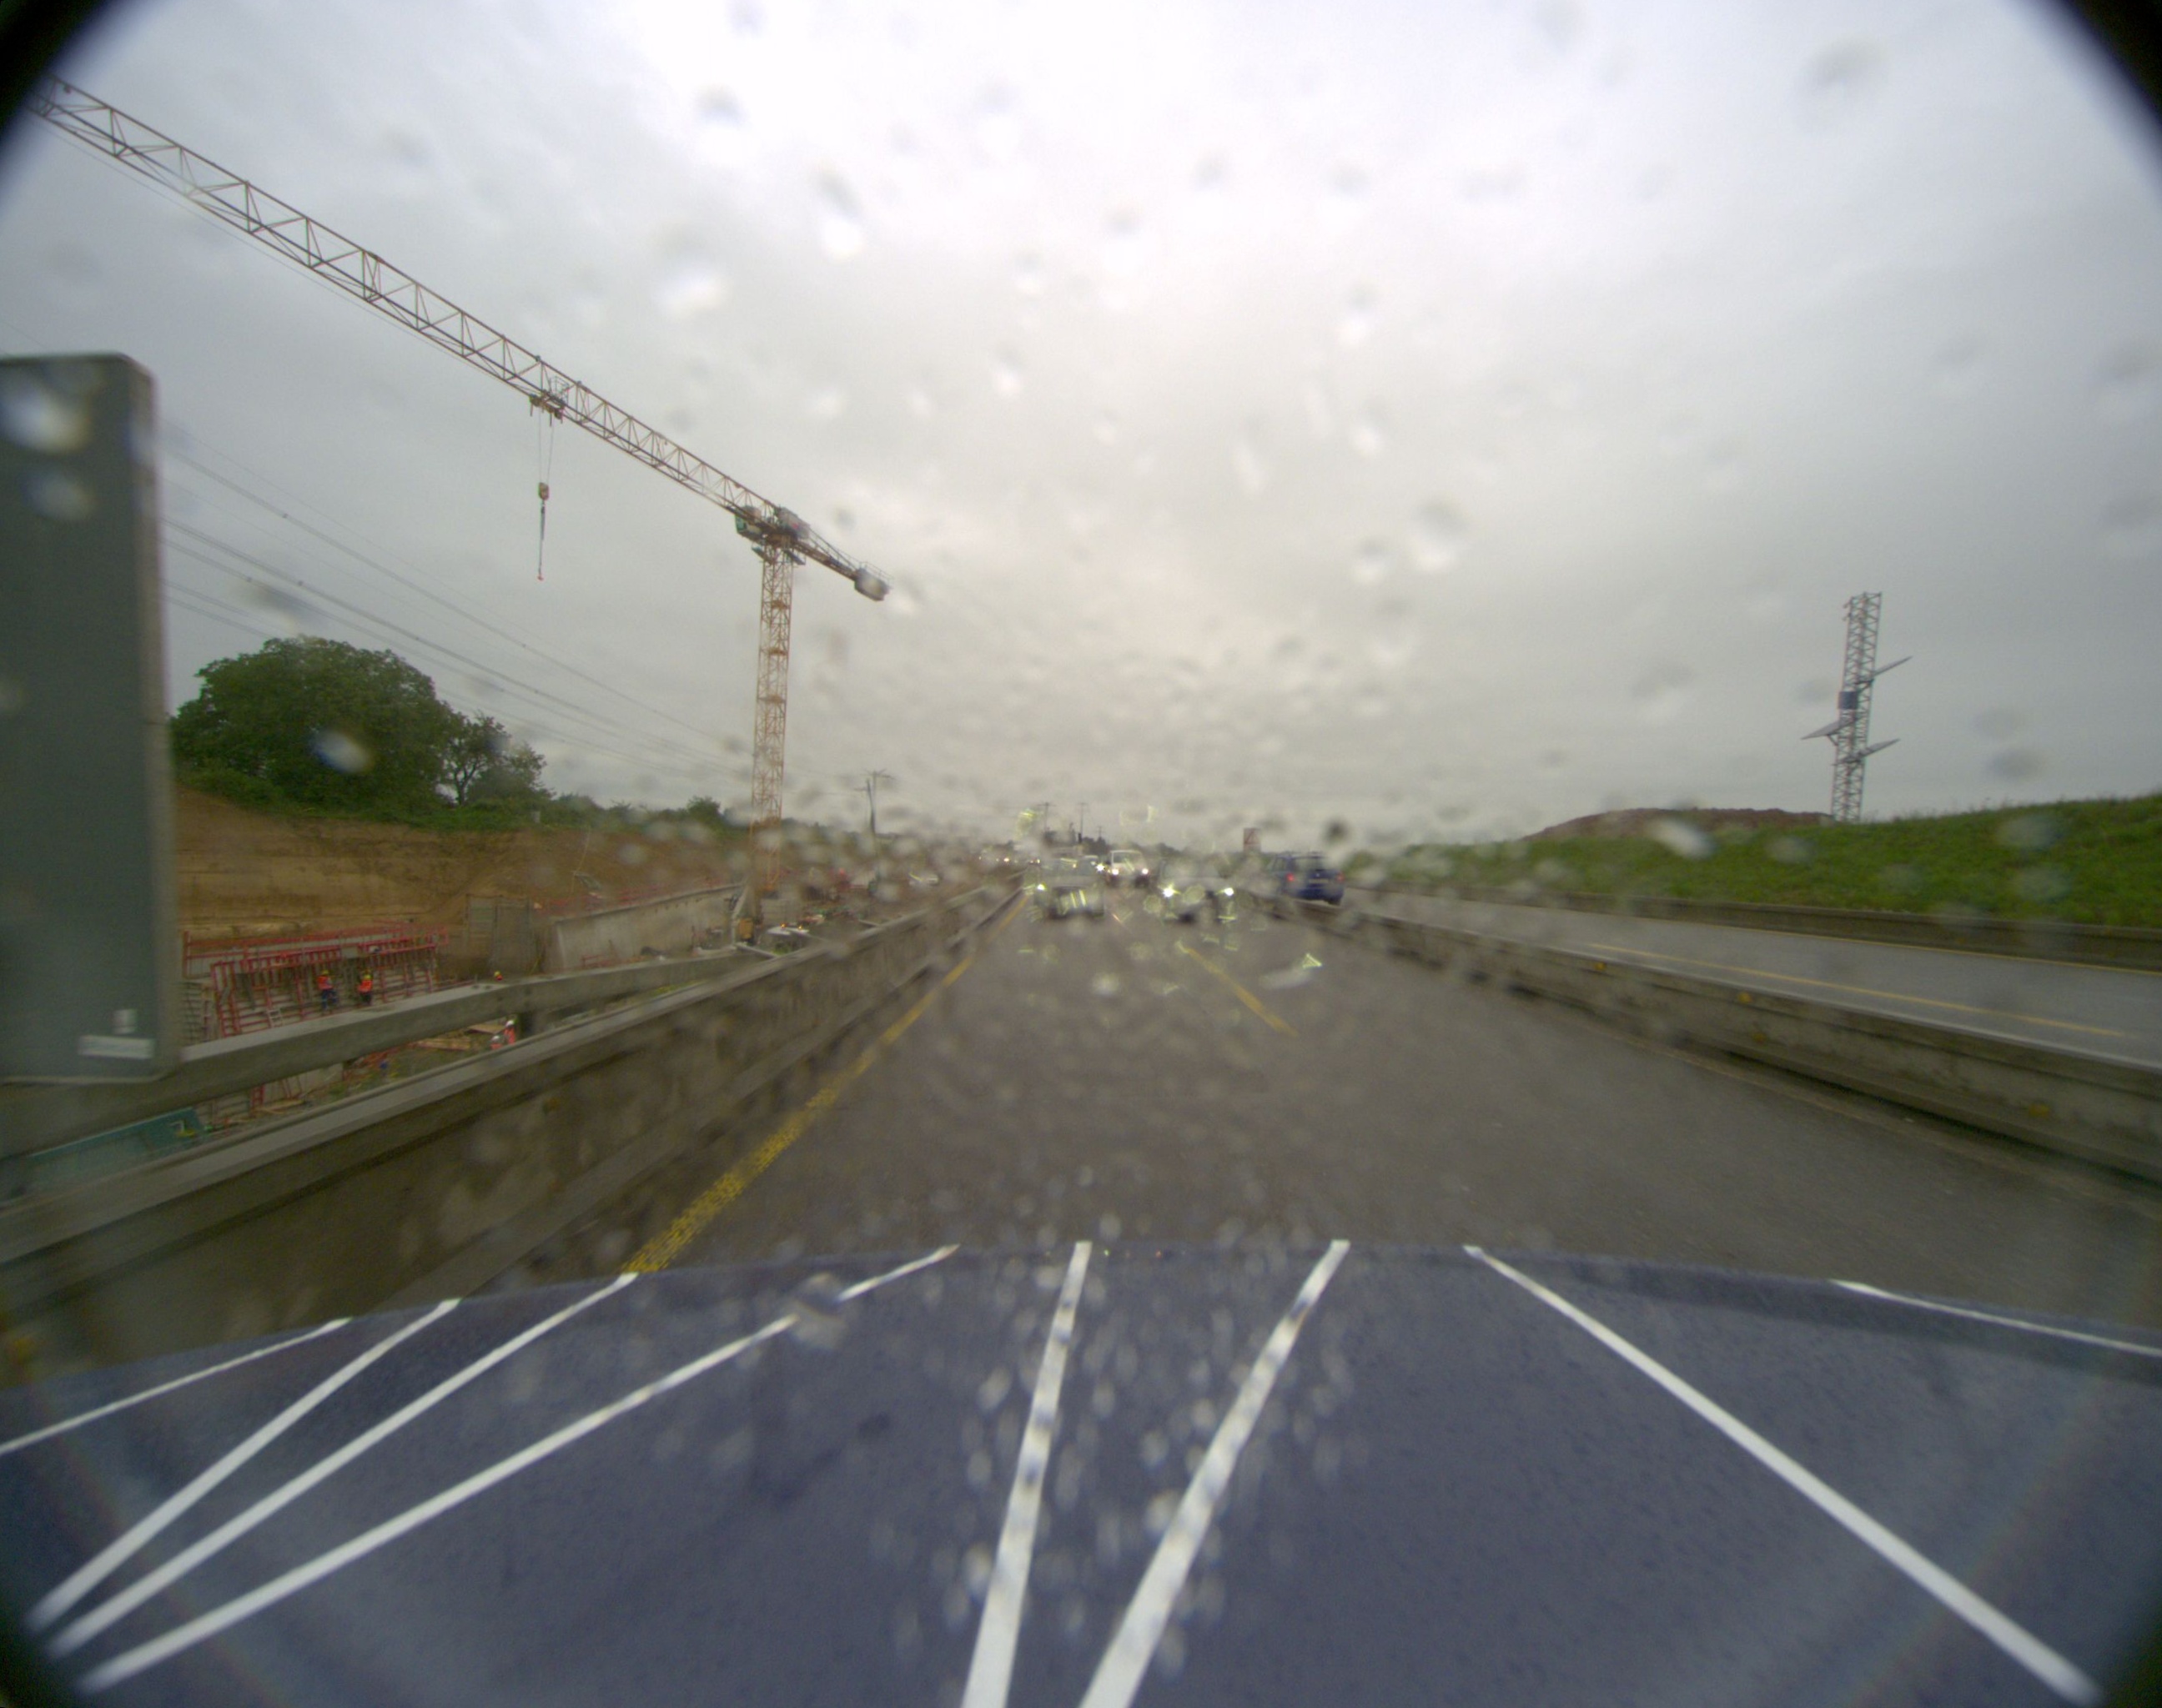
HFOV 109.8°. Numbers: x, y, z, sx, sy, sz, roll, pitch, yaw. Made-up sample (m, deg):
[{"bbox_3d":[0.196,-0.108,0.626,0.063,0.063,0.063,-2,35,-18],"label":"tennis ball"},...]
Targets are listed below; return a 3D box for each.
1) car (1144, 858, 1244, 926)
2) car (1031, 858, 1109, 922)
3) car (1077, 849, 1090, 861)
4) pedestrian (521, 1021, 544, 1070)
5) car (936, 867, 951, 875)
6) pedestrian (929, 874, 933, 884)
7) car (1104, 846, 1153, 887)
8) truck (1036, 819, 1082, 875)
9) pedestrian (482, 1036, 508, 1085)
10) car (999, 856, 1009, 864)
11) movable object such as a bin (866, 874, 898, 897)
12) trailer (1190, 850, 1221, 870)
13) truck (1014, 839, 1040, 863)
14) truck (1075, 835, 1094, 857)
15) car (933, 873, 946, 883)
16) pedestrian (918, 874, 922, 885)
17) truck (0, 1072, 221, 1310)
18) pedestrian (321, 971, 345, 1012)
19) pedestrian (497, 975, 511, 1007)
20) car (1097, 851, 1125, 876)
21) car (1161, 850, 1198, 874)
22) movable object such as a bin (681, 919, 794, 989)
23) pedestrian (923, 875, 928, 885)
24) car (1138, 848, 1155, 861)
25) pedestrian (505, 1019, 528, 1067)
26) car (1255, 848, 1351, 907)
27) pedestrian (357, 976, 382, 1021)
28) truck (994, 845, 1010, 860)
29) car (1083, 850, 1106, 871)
[{"bbox_3d":[2.654,0.843,18.714,1.805,1.375,4.087,-1,1,0],"label":"car"},{"bbox_3d":[-0.322,0.875,20.519,1.874,1.481,4.260,-1,0,-2],"label":"car"},{"bbox_3d":[0.318,0.136,117.984,1.871,1.744,3.999,-2,1,-2],"label":"car"},{"bbox_3d":[-22.633,7.913,31.345,0.603,1.894,0.481,1,1,-1],"label":"pedestrian"},{"bbox_3d":[-28.937,3.554,160.059,2.351,1.609,4.857,0,1,-2],"label":"car"},{"bbox_3d":[-26.430,4.435,133.826,0.614,1.671,0.603,-2,1,0],"label":"pedestrian"},{"bbox_3d":[2.351,0.571,39.022,2.070,1.934,5.155,-1,1,-2],"label":"car"},{"bbox_3d":[-1.490,-0.485,52.244,2.856,3.462,8.641,-1,1,-2],"label":"truck"},{"bbox_3d":[-22.967,8.084,29.796,0.603,1.760,0.481,3,1,-1],"label":"pedestrian"},{"bbox_3d":[-15.739,1.228,155.746,1.789,1.418,3.999,-2,1,-2],"label":"car"},{"bbox_3d":[-29.402,4.593,112.564,3.501,2.865,3.999,5,1,-2],"label":"movable object such as a bin"},{"bbox_3d":[9.873,0.433,60.572,1.635,1.456,4.160,1,1,-2],"label":"trailer"},{"bbox_3d":[-10.525,-0.504,147.394,4.320,4.319,13.399,-2,1,-6],"label":"truck"},{"bbox_3d":[0.601,-1.462,148.677,3.228,4.072,9.199,-2,1,-2],"label":"truck"},{"bbox_3d":[-25.833,4.414,139.045,1.860,1.609,4.078,0,1,-2],"label":"car"},{"bbox_3d":[-27.524,4.370,129.811,0.614,1.848,0.666,1,1,0],"label":"pedestrian"},{"bbox_3d":[-23.235,7.438,14.638,2.709,3.591,9.073,1,2,2],"label":"truck"},{"bbox_3d":[-34.794,6.393,35.361,0.488,1.793,0.583,-4,2,39],"label":"pedestrian"},{"bbox_3d":[-33.914,8.046,44.662,0.489,1.750,0.481,1,1,-2],"label":"pedestrian"},{"bbox_3d":[2.020,0.606,52.315,1.626,1.583,3.999,-2,1,-2],"label":"car"},{"bbox_3d":[6.462,0.508,50.193,1.793,1.418,3.707,-2,1,-2],"label":"car"},{"bbox_3d":[-21.926,6.294,48.980,3.515,3.405,6.654,-1,2,8],"label":"movable object such as a bin"},{"bbox_3d":[-26.567,4.471,129.945,0.614,1.671,0.603,-2,1,0],"label":"pedestrian"},{"bbox_3d":[8.891,0.046,103.515,1.826,1.616,4.751,-2,1,-2],"label":"car"},{"bbox_3d":[-23.610,7.891,31.769,0.603,1.894,0.481,2,1,-1],"label":"pedestrian"},{"bbox_3d":[6.257,0.610,21.868,1.653,1.494,3.829,-2,1,1],"label":"car"},{"bbox_3d":[-34.576,7.018,36.930,0.489,2.087,0.481,-6,2,-1],"label":"pedestrian"},{"bbox_3d":[-20.645,-0.450,199.375,3.546,3.871,8.333,-2,1,-2],"label":"truck"},{"bbox_3d":[1.188,0.512,66.939,1.789,1.744,3.999,-2,1,-2],"label":"car"}]
